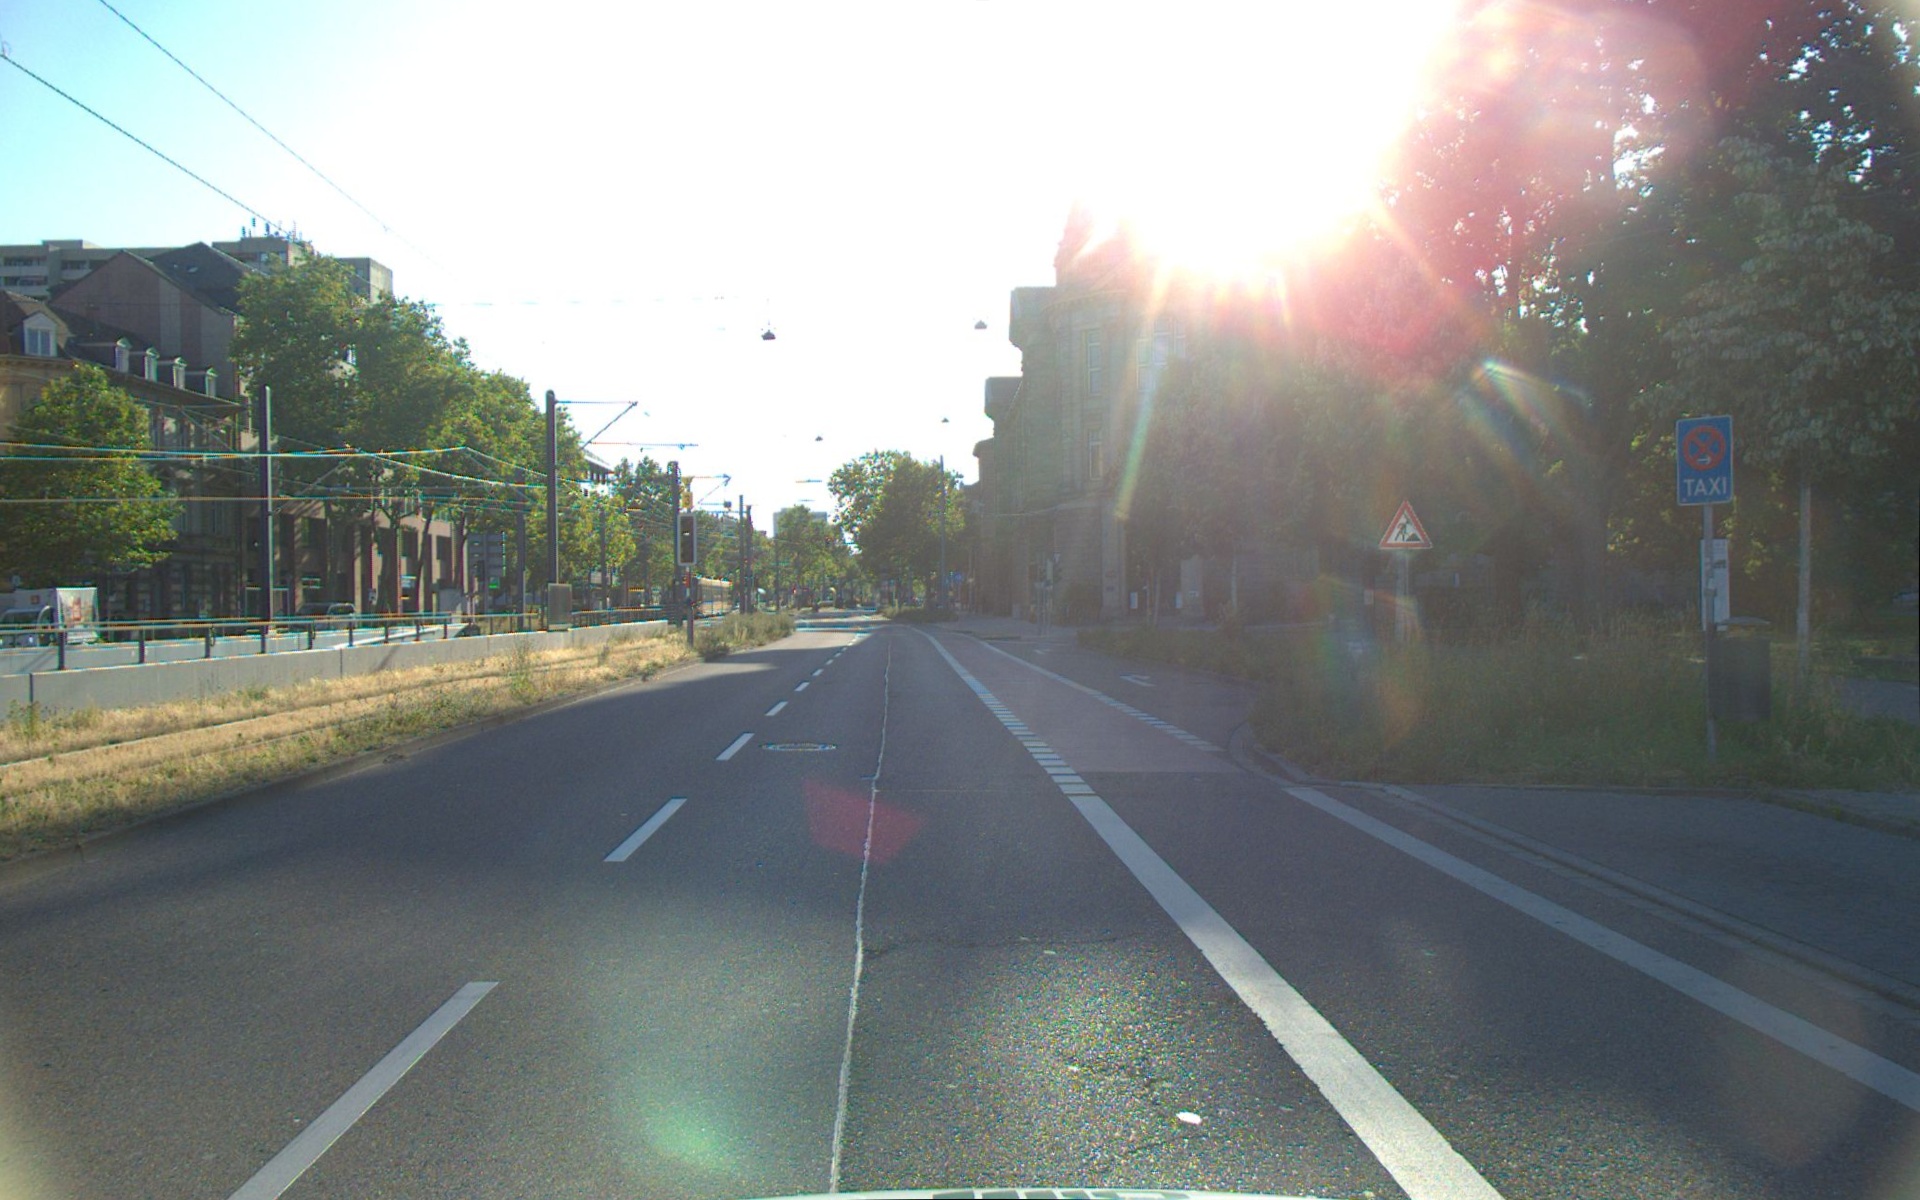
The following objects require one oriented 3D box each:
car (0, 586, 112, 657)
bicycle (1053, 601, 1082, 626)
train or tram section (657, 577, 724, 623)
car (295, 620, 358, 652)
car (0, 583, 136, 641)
[{"bbox_3d":[-29.438,0.671,53.343,1.913,2.171,4.571,-1,0,-2],"label":"car"},{"bbox_3d":[5.567,0.689,85.552,0.849,1.217,2.239,-1,0,21],"label":"bicycle"},{"bbox_3d":[-22.839,0.045,141.350,3.049,3.621,17.474,-1,0,-1],"label":"train or tram section"},{"bbox_3d":[-34.449,1.916,90.082,1.724,1.612,4.733,-1,0,-2],"label":"car"},{"bbox_3d":[-38.849,0.541,69.461,7.129,2.306,2.466,-1,0,-7],"label":"car"}]
